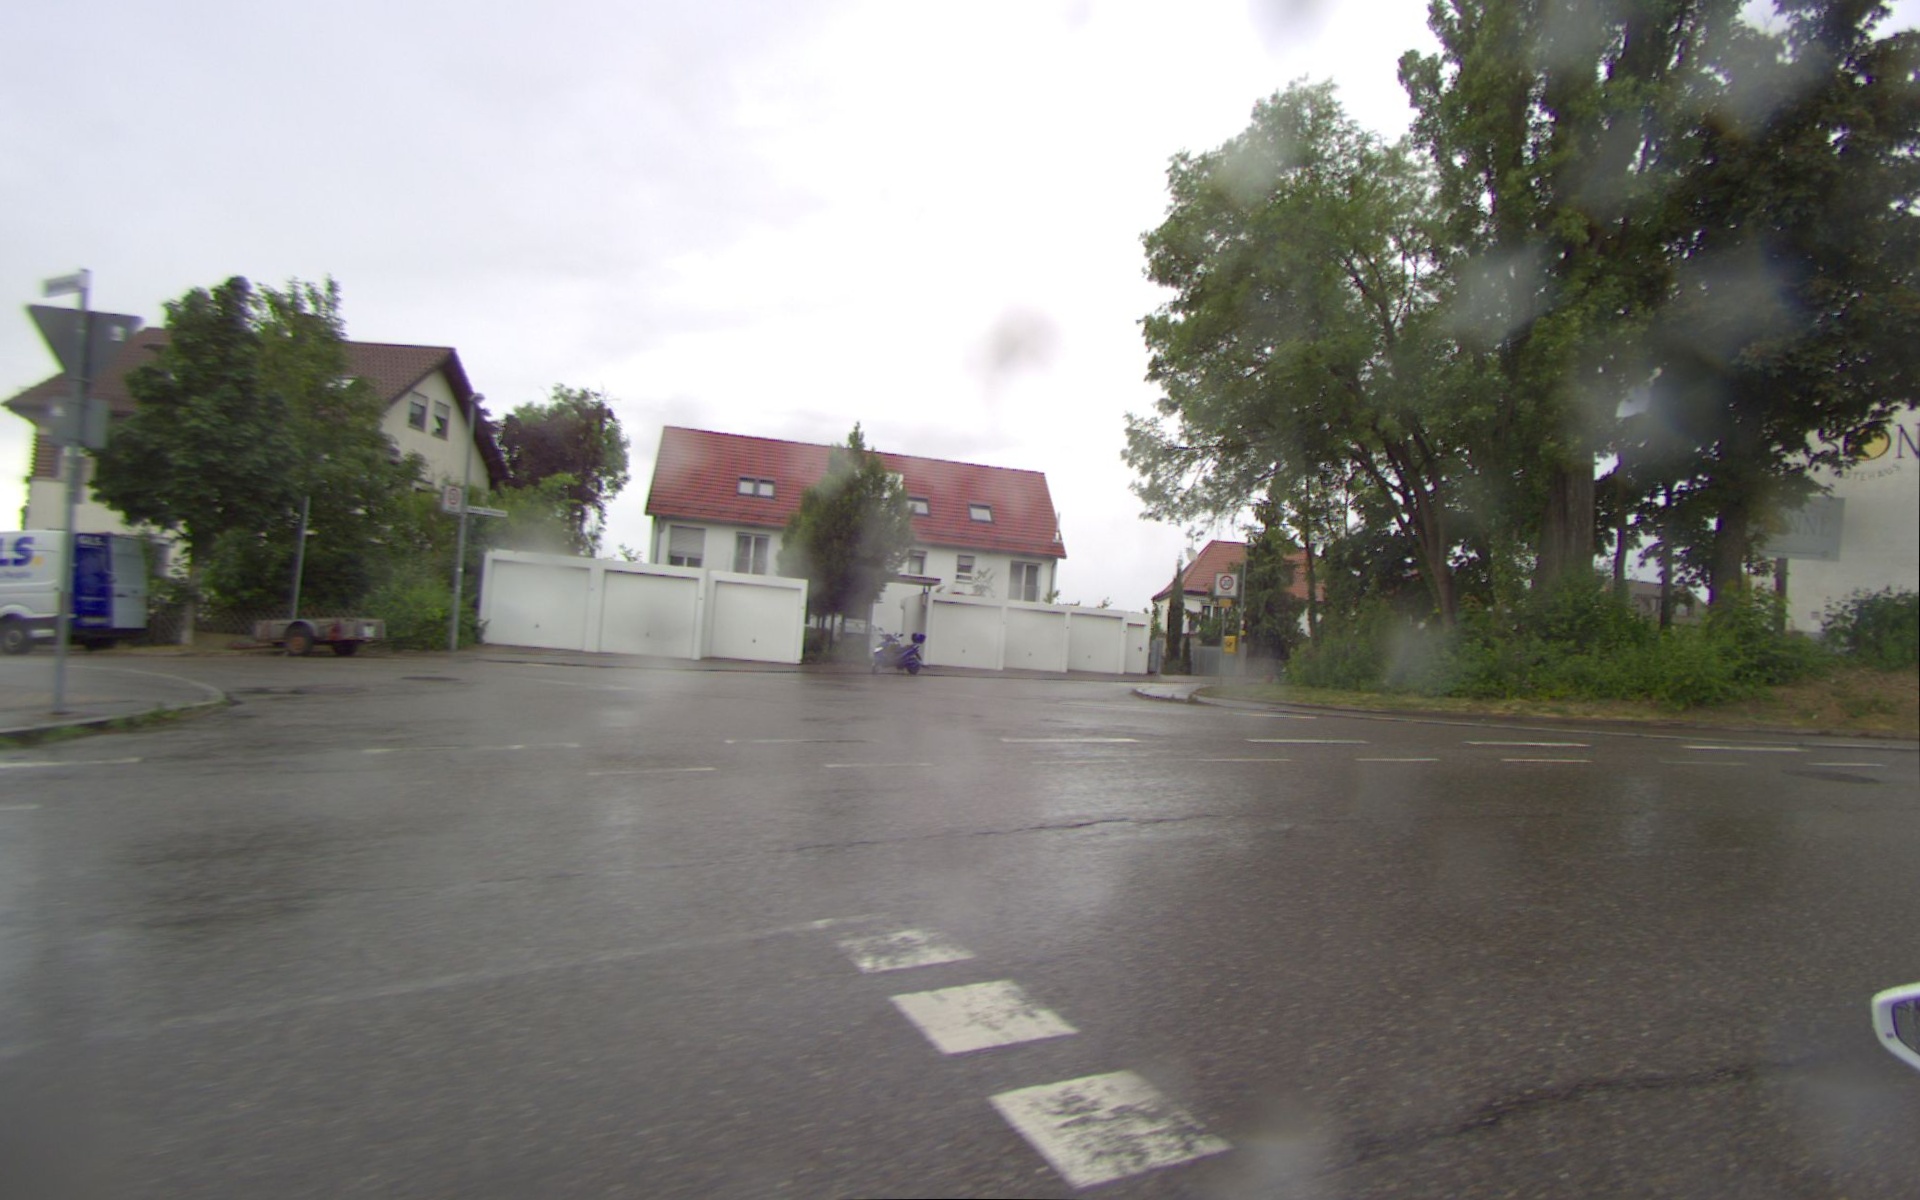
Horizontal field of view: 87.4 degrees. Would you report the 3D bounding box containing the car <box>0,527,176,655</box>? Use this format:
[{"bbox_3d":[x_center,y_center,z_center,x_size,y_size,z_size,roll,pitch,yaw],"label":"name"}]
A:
[{"bbox_3d":[-20.790,-0.238,21.732,6.127,2.556,2.192,2,-1,6],"label":"car"}]

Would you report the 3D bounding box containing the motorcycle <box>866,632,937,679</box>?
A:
[{"bbox_3d":[-1.723,1.661,29.946,2.026,1.339,0.702,3,-1,-36],"label":"motorcycle"}]

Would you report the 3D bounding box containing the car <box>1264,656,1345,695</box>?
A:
[{"bbox_3d":[15.349,3.319,44.719,1.972,1.528,3.978,1,-2,43],"label":"car"}]

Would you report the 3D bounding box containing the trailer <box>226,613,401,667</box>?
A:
[{"bbox_3d":[-13.647,0.812,21.268,2.765,1.020,1.594,1,0,12],"label":"trailer"}]
